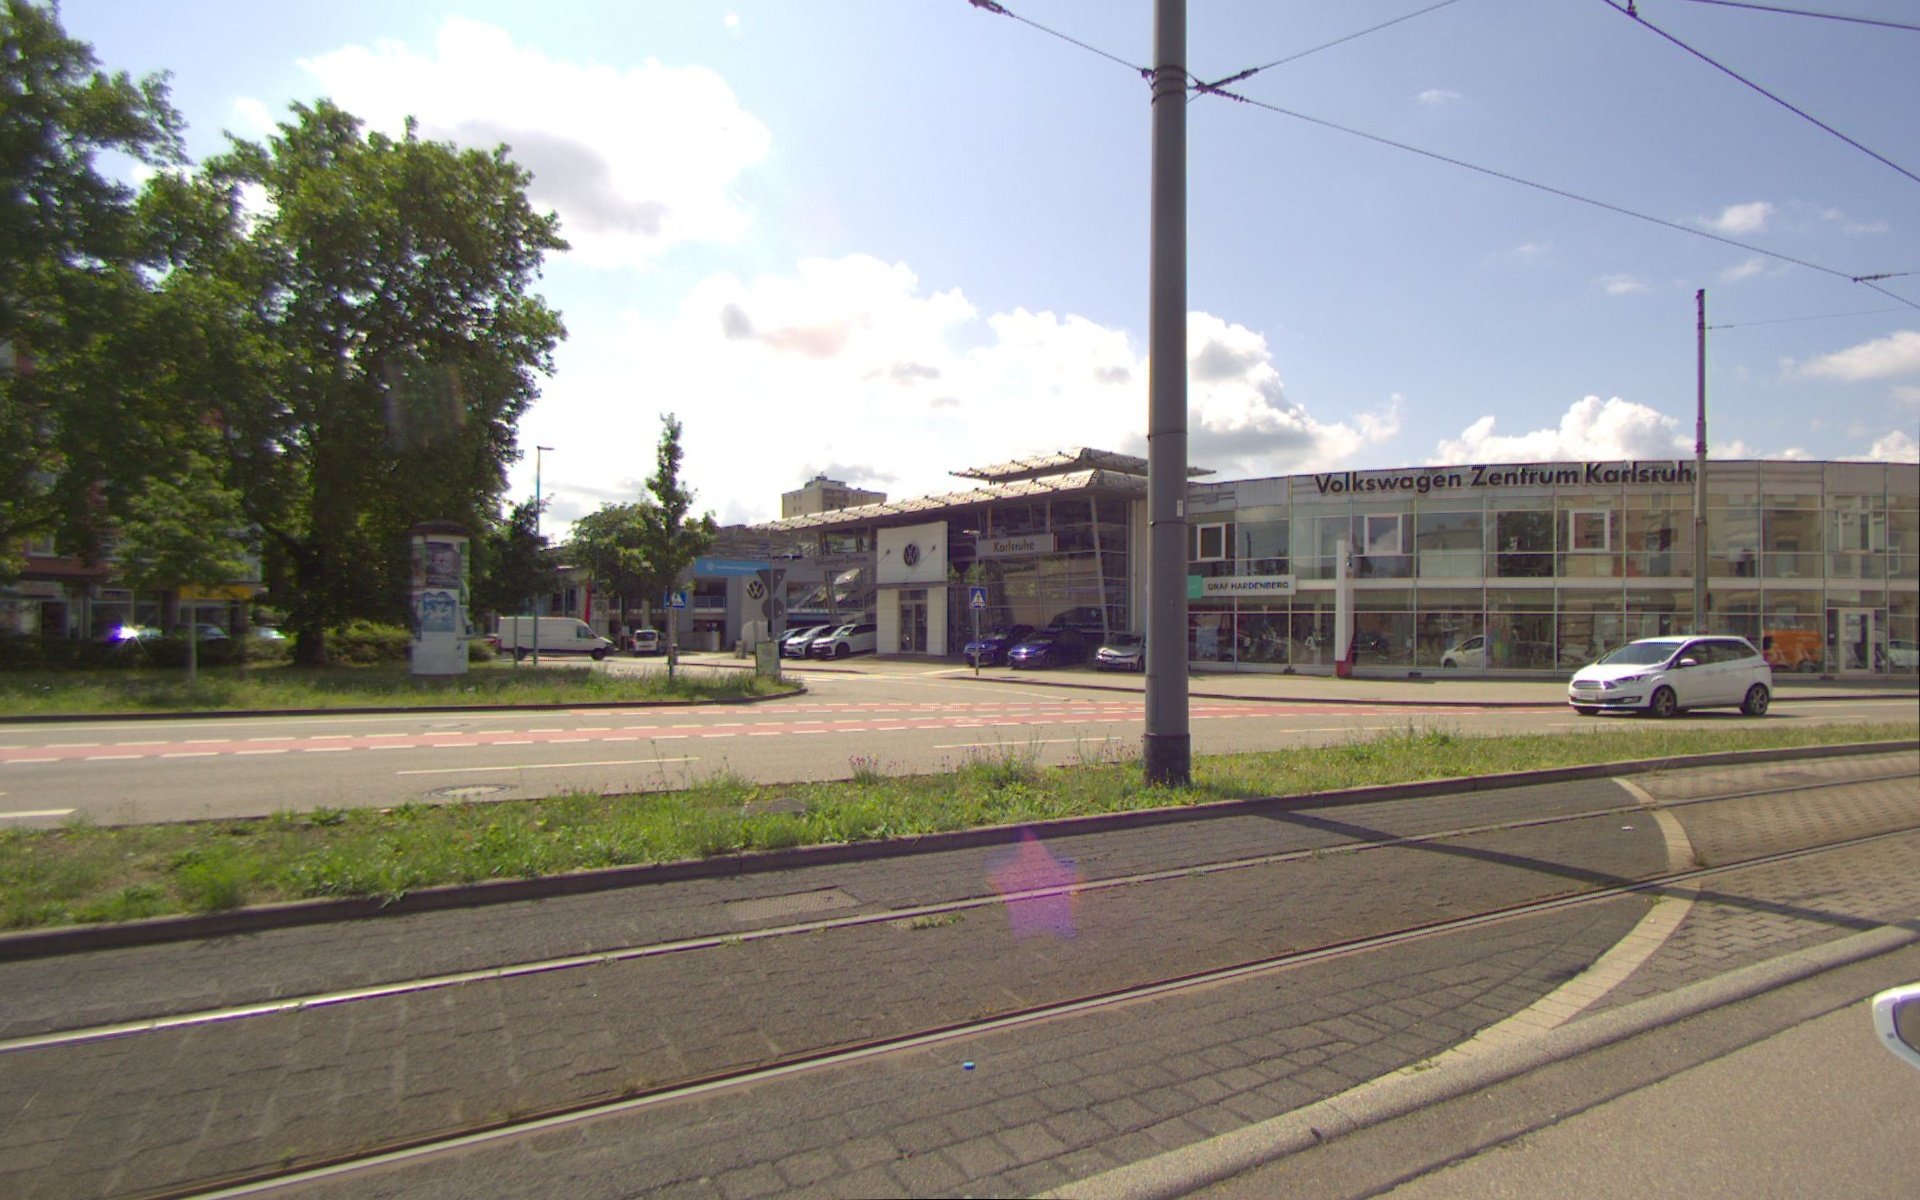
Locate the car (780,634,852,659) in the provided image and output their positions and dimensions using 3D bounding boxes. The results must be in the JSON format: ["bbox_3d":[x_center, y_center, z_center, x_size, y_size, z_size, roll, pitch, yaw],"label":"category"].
[{"bbox_3d":[-7.574,2.450,53.133,1.535,1.262,3.620,-1,-2,42],"label":"car"}]

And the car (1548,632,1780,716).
[{"bbox_3d":[14.766,1.516,21.089,4.424,1.625,1.765,1,-3,-20],"label":"car"}]

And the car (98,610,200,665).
[{"bbox_3d":[-31.562,1.427,39.074,3.933,2.040,1.994,-1,-2,34],"label":"car"}]

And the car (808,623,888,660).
[{"bbox_3d":[-5.693,2.100,51.307,3.837,1.797,1.679,2,-2,-43],"label":"car"}]

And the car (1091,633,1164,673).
[{"bbox_3d":[6.586,2.038,39.264,1.800,1.466,3.944,0,-2,25],"label":"car"}]

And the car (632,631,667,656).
[{"bbox_3d":[-21.313,2.966,68.889,1.971,1.639,3.980,1,-2,-22],"label":"car"}]

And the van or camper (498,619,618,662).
[{"bbox_3d":[-24.449,2.453,61.142,6.592,2.532,2.564,1,-2,-25],"label":"van or camper"}]

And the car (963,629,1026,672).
[{"bbox_3d":[1.497,2.096,42.326,1.741,1.695,3.641,0,-2,17],"label":"car"}]

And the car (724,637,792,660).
[{"bbox_3d":[-11.351,2.721,56.553,1.533,1.262,3.624,0,-2,38],"label":"car"}]

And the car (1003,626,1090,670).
[{"bbox_3d":[3.474,1.865,39.866,1.634,1.493,3.772,0,1,38],"label":"car"}]
